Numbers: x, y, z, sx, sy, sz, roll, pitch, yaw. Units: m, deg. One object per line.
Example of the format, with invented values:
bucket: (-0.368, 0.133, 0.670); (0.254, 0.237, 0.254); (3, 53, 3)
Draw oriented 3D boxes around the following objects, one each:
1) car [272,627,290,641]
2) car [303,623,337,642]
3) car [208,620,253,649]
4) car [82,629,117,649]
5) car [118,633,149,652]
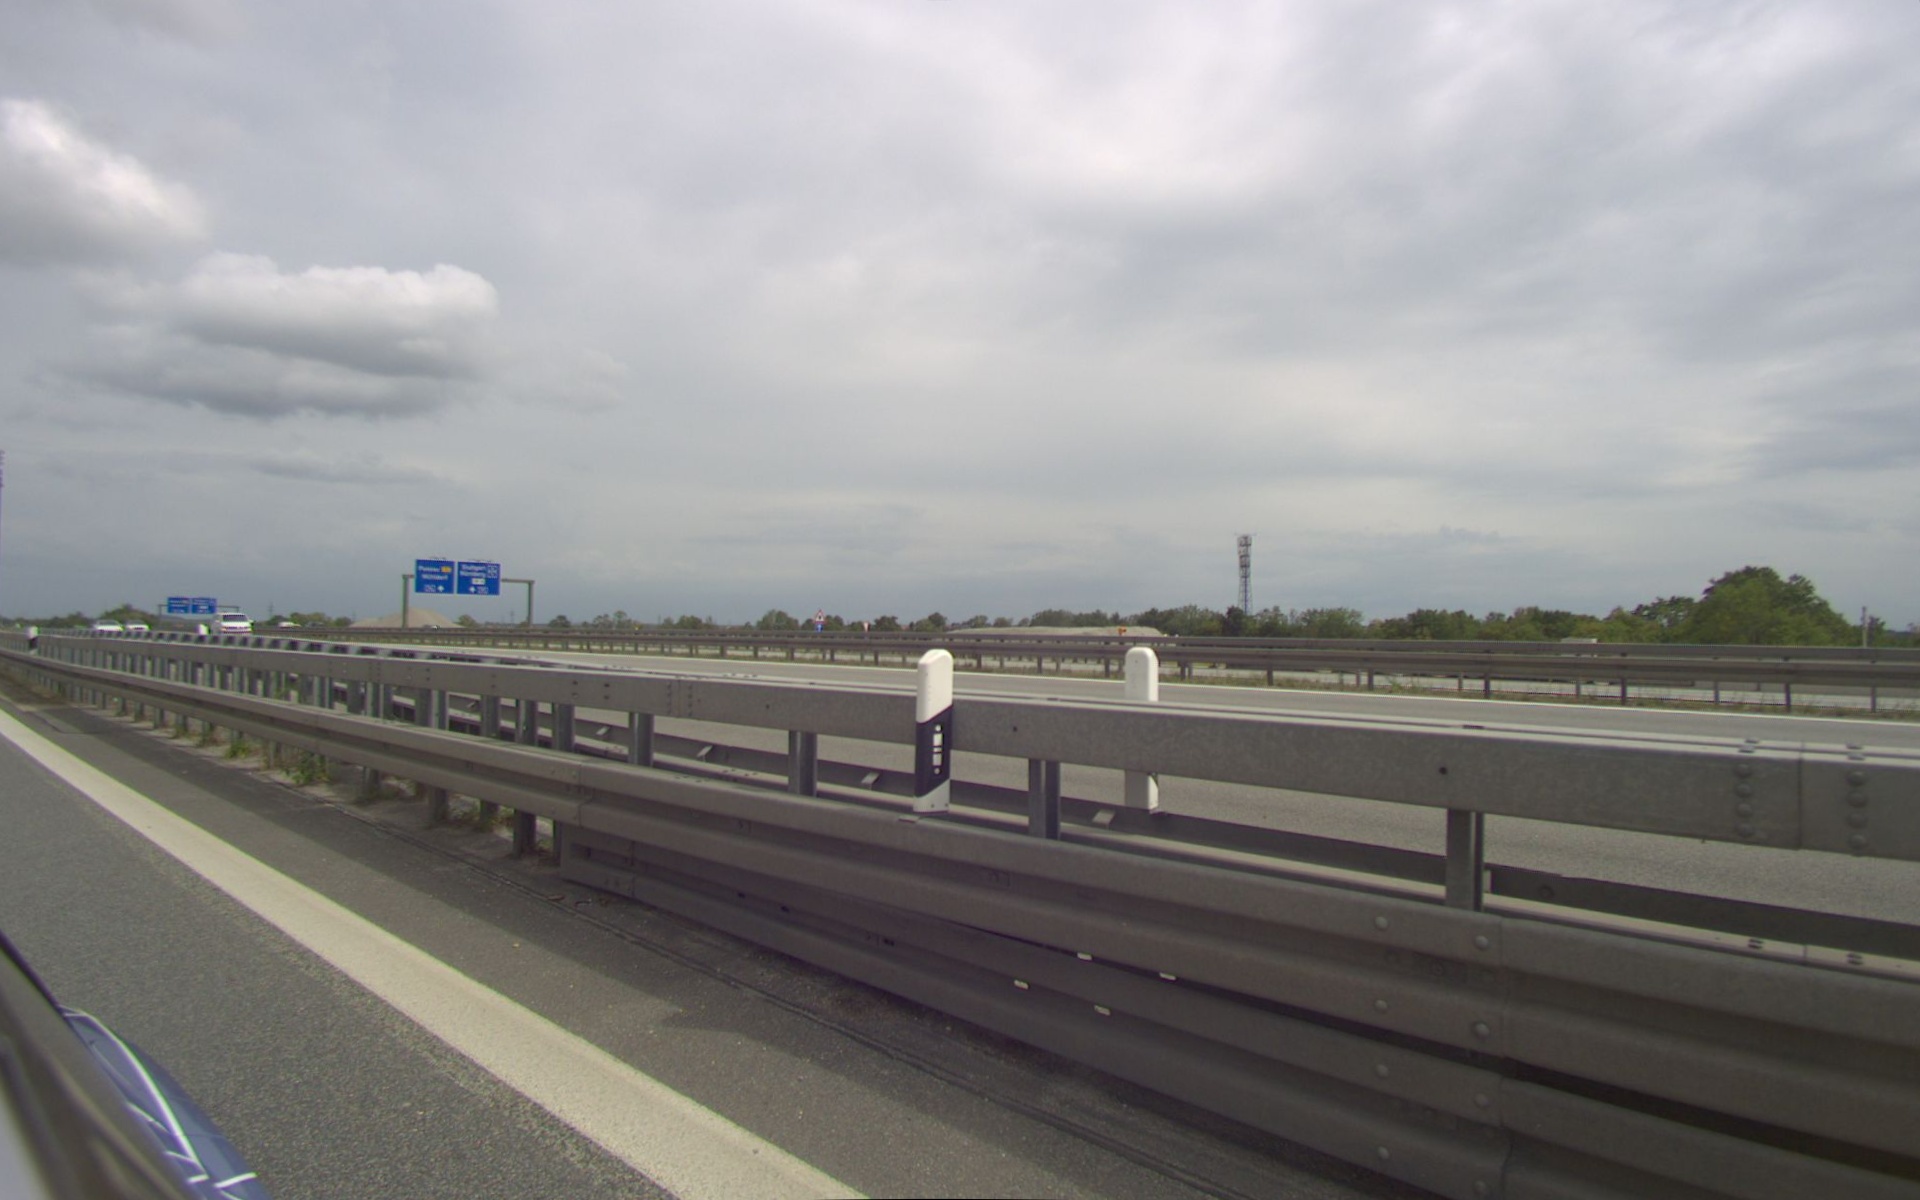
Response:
car: (-123.642, 6.224, 184.256); (4.491, 2.323, 1.971); (-3, -2, 44)
car: (-67.485, 3.405, 106.658); (4.505, 1.876, 1.972); (-2, 1, 44)
car: (-53.463, 2.545, 74.132); (4.467, 2.029, 1.971); (-3, -2, 45)
car: (-78.761, 3.577, 92.638); (3.999, 1.763, 1.972); (-3, -2, 42)
car: (-87.370, 4.506, 106.916); (3.999, 1.896, 1.972); (-3, -2, 42)
